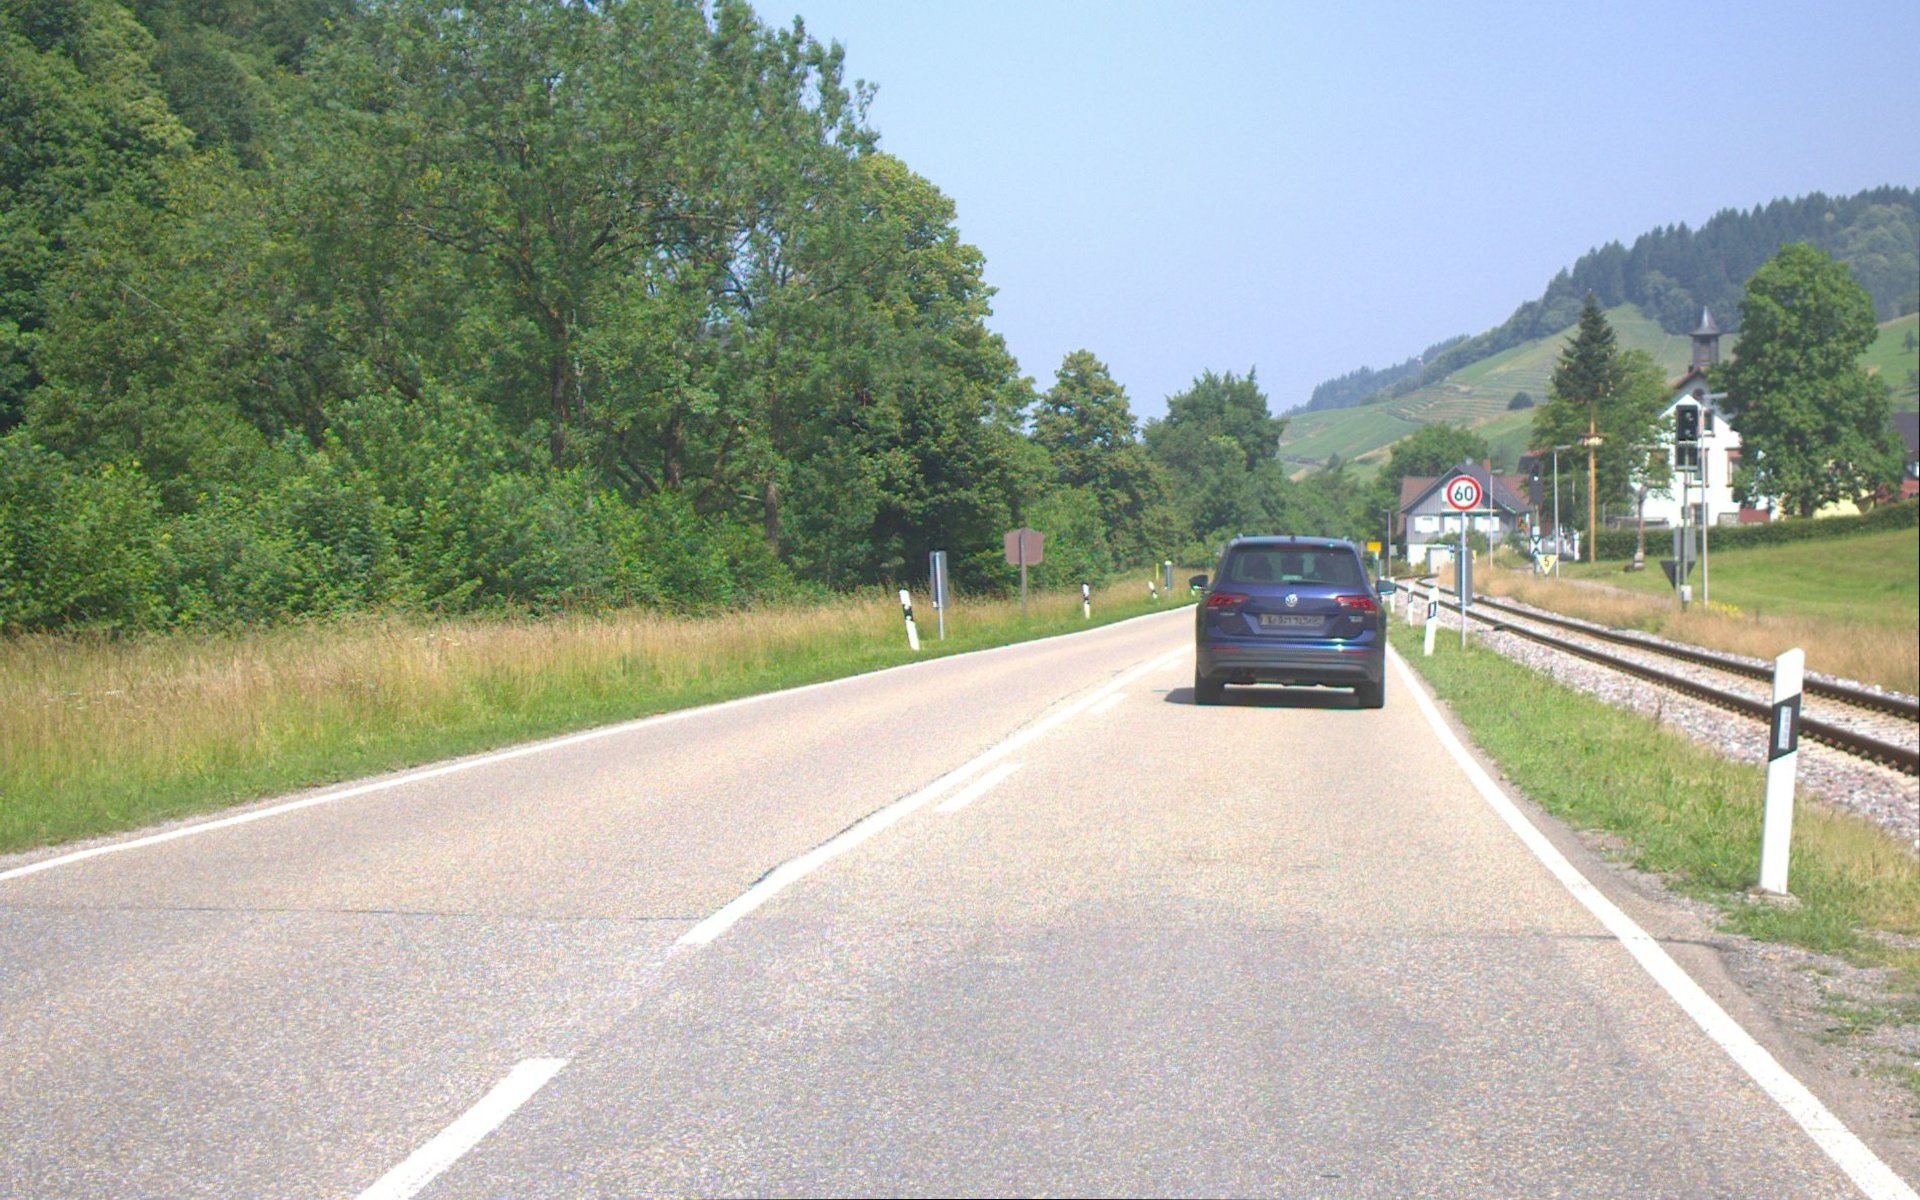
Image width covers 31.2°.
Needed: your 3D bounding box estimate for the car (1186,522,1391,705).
[{"bbox_3d":[3.173,0.107,33.898,1.853,1.643,4.139,1,1,4],"label":"car"}]
